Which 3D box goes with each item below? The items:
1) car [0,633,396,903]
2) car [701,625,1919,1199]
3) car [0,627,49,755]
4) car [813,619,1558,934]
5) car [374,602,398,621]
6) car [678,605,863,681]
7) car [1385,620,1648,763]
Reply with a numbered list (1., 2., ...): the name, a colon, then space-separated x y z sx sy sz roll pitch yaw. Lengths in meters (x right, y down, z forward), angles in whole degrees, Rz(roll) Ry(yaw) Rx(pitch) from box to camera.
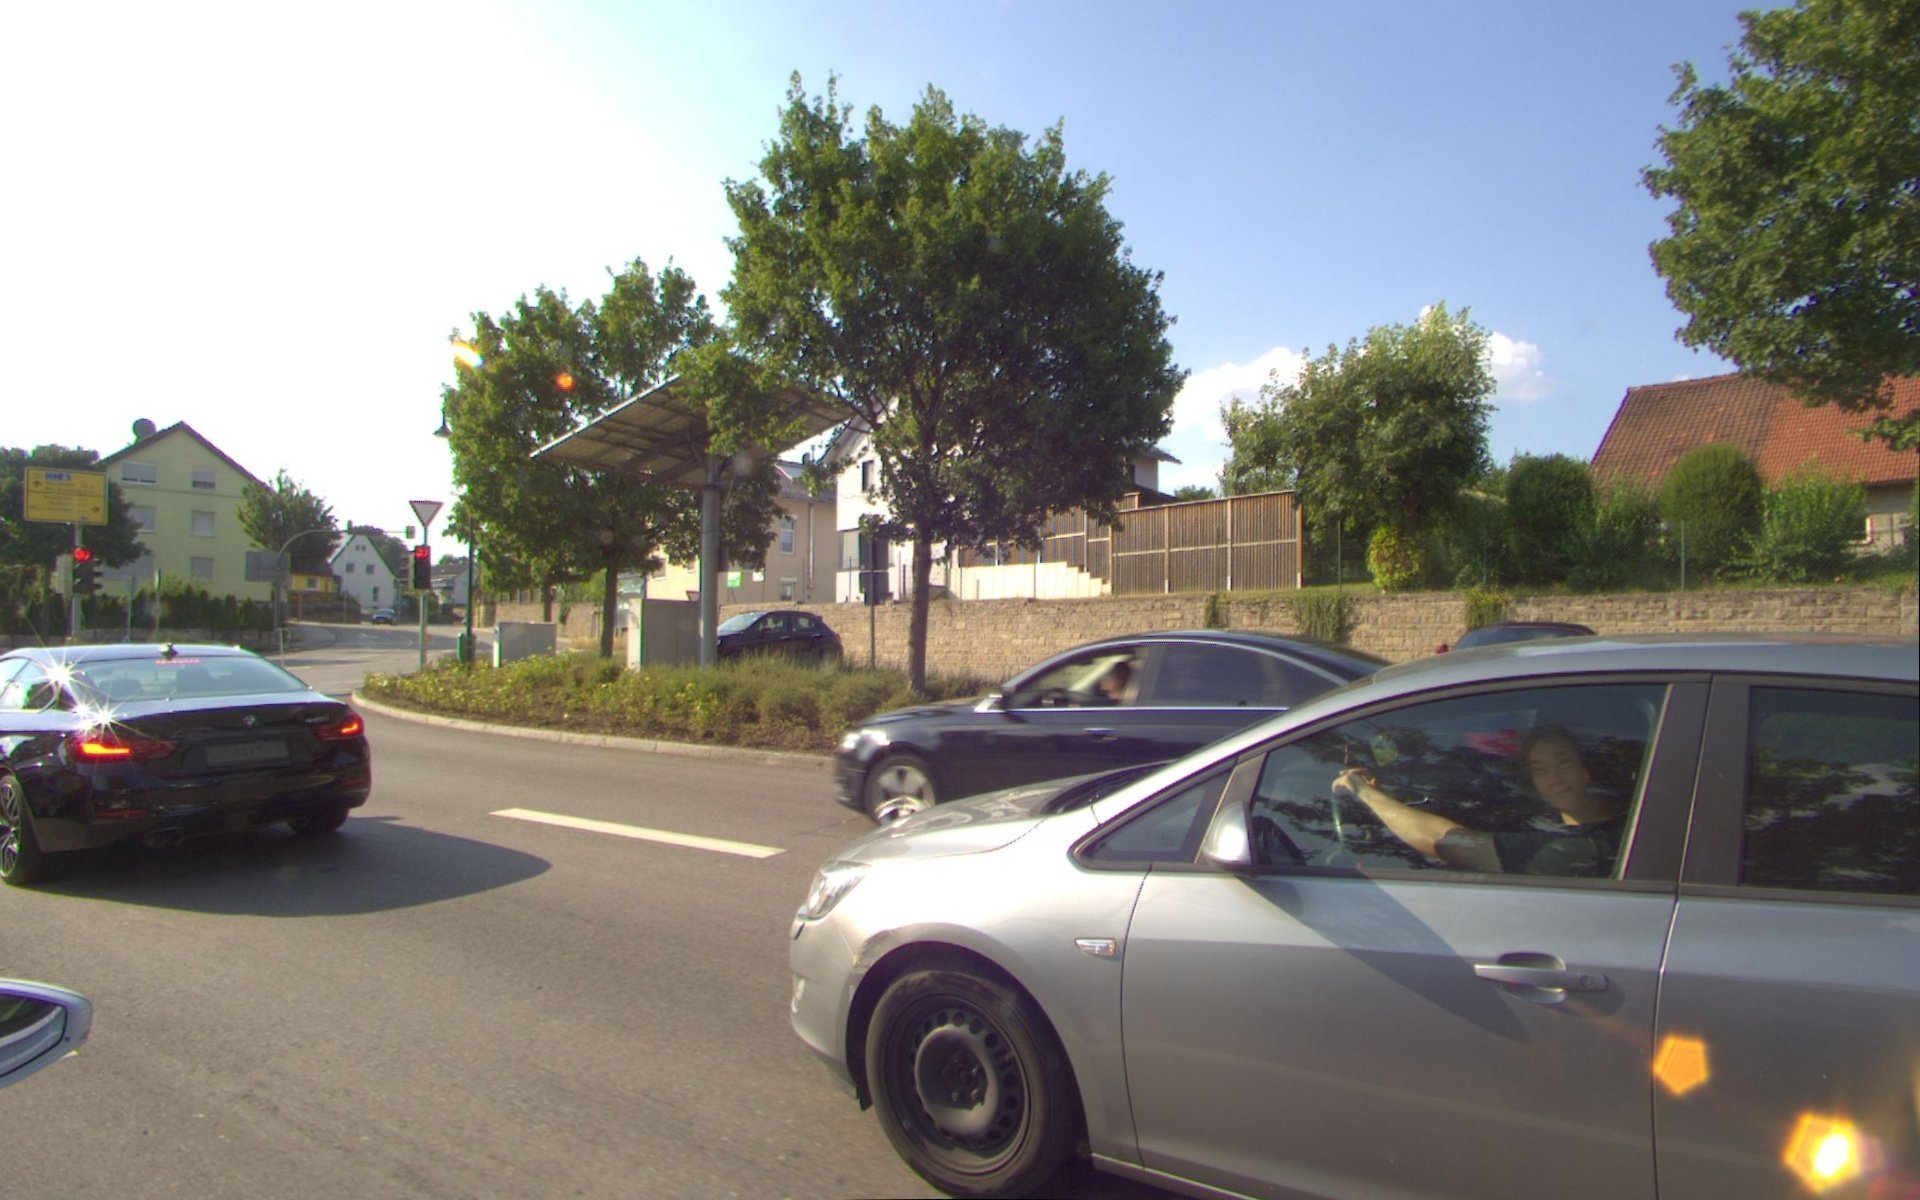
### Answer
1. car: -6.109 0.948 7.241 4.287 1.406 1.812 -1 -2 34
2. car: 1.421 0.804 2.661 4.107 1.460 1.741 -1 -2 32
3. car: -12.998 1.056 12.223 4.287 1.465 1.812 -1 -2 34
4. car: 1.278 0.876 6.614 4.526 1.454 1.677 -1 -2 34
5. car: -53.360 1.088 93.069 1.765 1.527 4.048 2 1 -28
6. car: -4.399 0.997 23.649 1.835 1.628 3.964 -1 -2 44
7. car: 6.303 0.899 11.130 1.832 1.288 3.970 -1 -2 40
